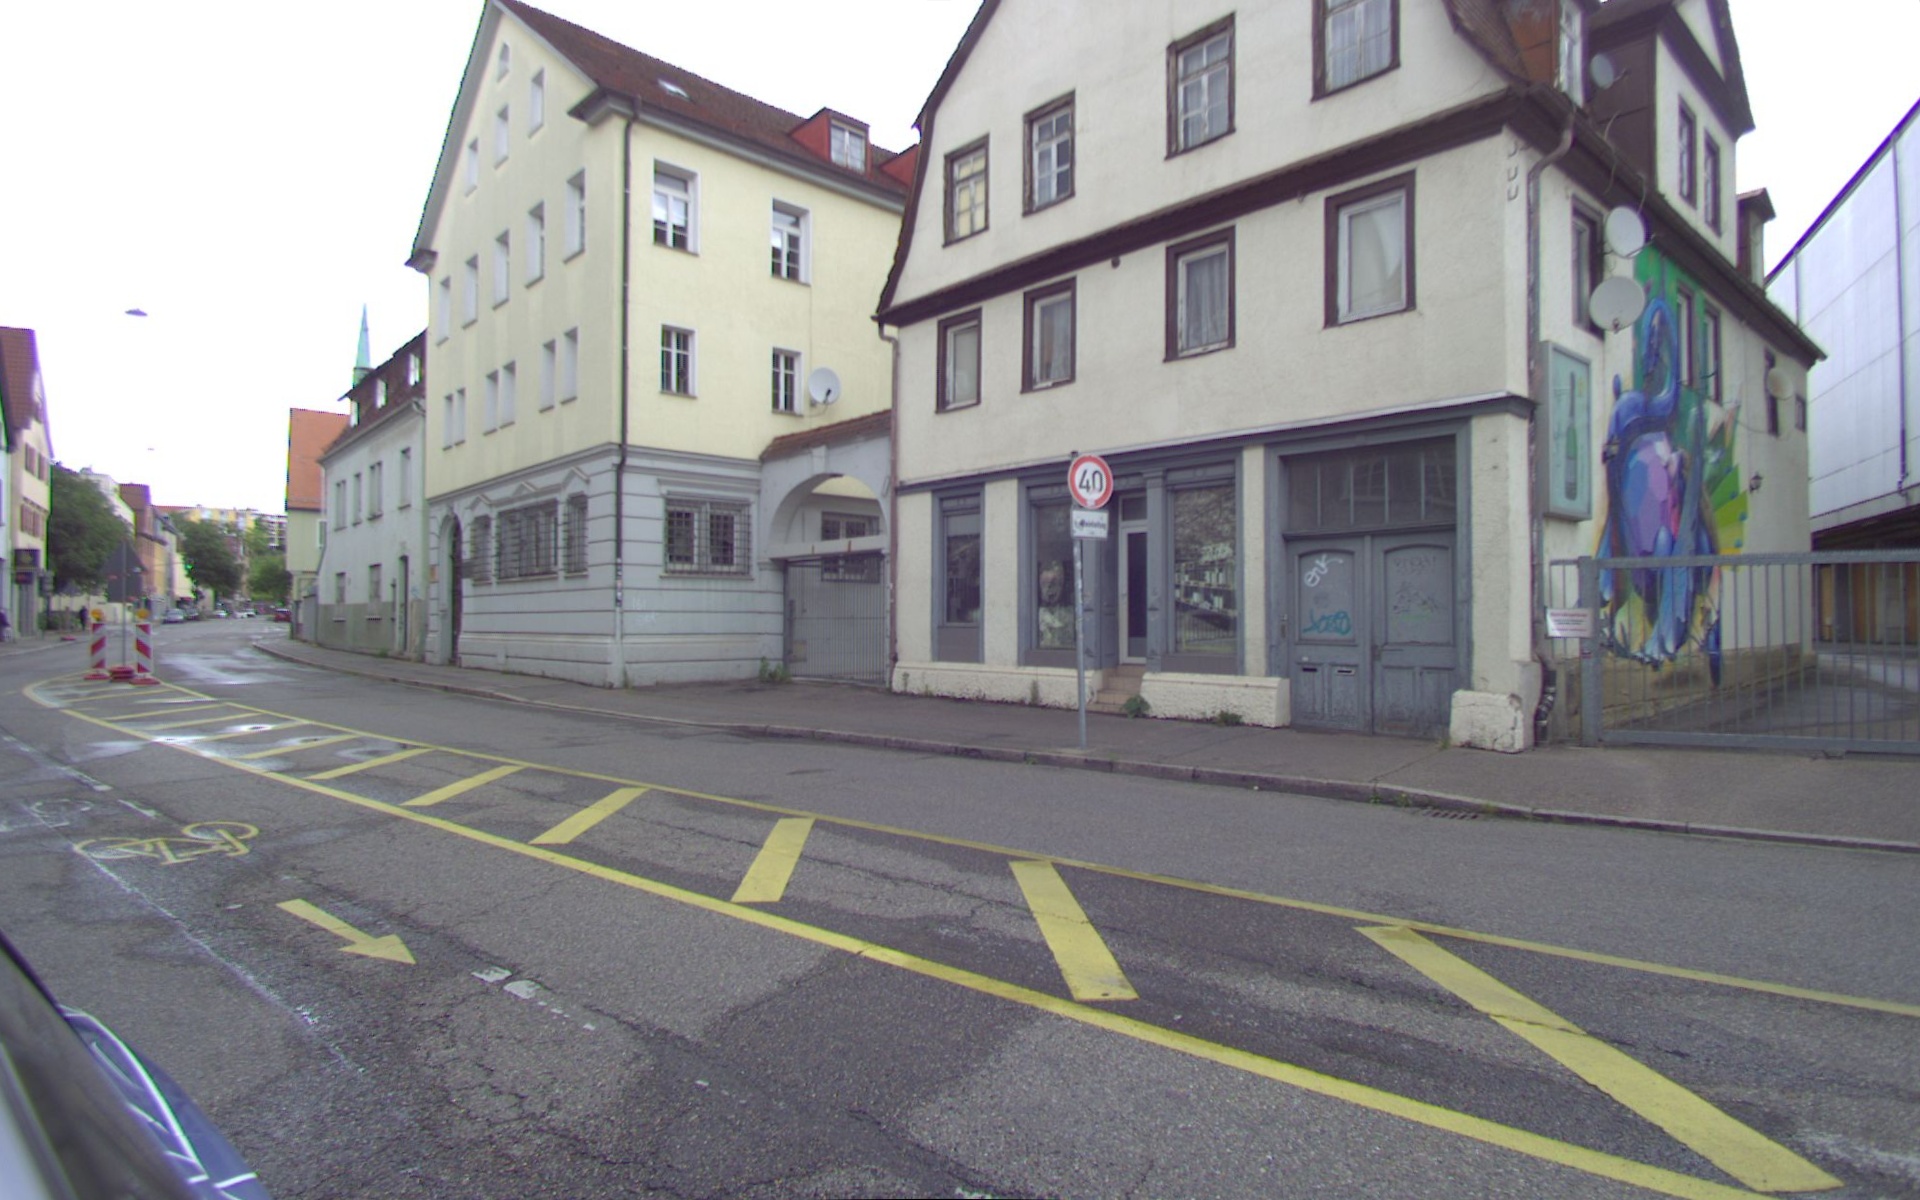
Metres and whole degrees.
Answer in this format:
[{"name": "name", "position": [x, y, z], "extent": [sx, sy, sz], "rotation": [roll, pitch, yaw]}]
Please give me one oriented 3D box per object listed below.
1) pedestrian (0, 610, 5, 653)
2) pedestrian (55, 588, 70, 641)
[{"name": "pedestrian", "position": [-36.844, 1.187, 38.453], "extent": [0.714, 1.626, 0.650], "rotation": [1, -2, -37]}, {"name": "pedestrian", "position": [-43.745, 0.720, 49.328], "extent": [0.487, 2.547, 0.747], "rotation": [1, -2, -38]}]
